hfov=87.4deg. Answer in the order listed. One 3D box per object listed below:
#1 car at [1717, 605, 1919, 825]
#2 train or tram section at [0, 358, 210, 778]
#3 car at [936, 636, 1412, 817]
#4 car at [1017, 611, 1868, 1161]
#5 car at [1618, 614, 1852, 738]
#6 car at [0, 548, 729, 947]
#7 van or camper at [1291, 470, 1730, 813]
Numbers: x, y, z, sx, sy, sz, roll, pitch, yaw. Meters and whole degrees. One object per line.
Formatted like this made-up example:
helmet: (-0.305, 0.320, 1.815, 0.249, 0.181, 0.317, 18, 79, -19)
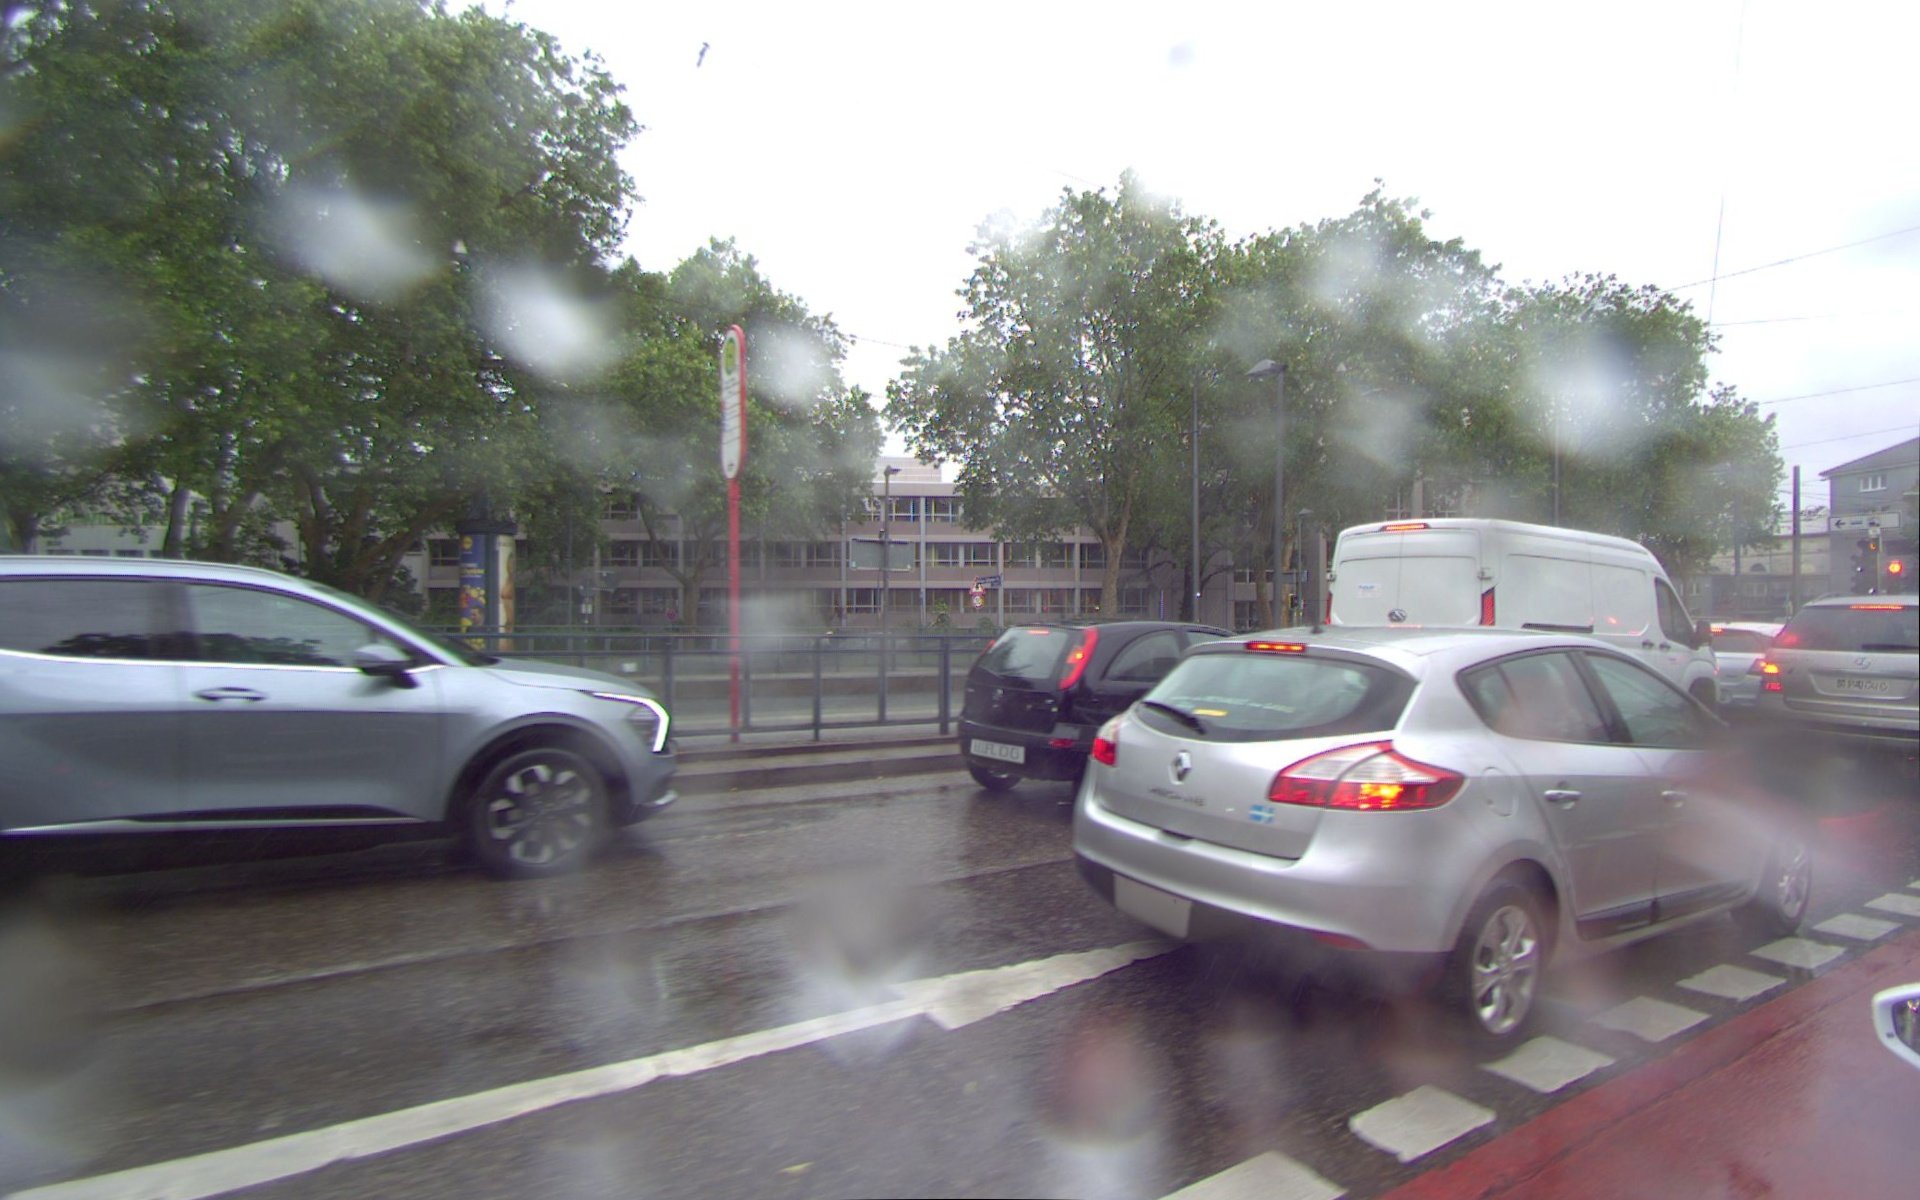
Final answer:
car: (9.563, 1.003, 9.878, 4.415, 1.794, 2.012, 1, 0, -33)
train or tram section: (-14.285, -0.433, 6.082, 15.342, 3.459, 3.519, 1, 1, -34)
car: (1.901, 0.897, 8.342, 4.044, 1.132, 1.454, 1, 0, -34)
car: (2.376, 0.847, 4.633, 3.959, 1.497, 1.757, 1, 0, -33)
car: (11.771, 1.069, 15.199, 3.794, 1.650, 1.636, 1, -1, -32)
car: (-3.694, 0.646, 5.427, 4.403, 1.645, 1.905, 1, -2, -31)
van or camper: (6.661, 0.447, 11.855, 5.791, 3.183, 2.145, 1, -1, -34)
